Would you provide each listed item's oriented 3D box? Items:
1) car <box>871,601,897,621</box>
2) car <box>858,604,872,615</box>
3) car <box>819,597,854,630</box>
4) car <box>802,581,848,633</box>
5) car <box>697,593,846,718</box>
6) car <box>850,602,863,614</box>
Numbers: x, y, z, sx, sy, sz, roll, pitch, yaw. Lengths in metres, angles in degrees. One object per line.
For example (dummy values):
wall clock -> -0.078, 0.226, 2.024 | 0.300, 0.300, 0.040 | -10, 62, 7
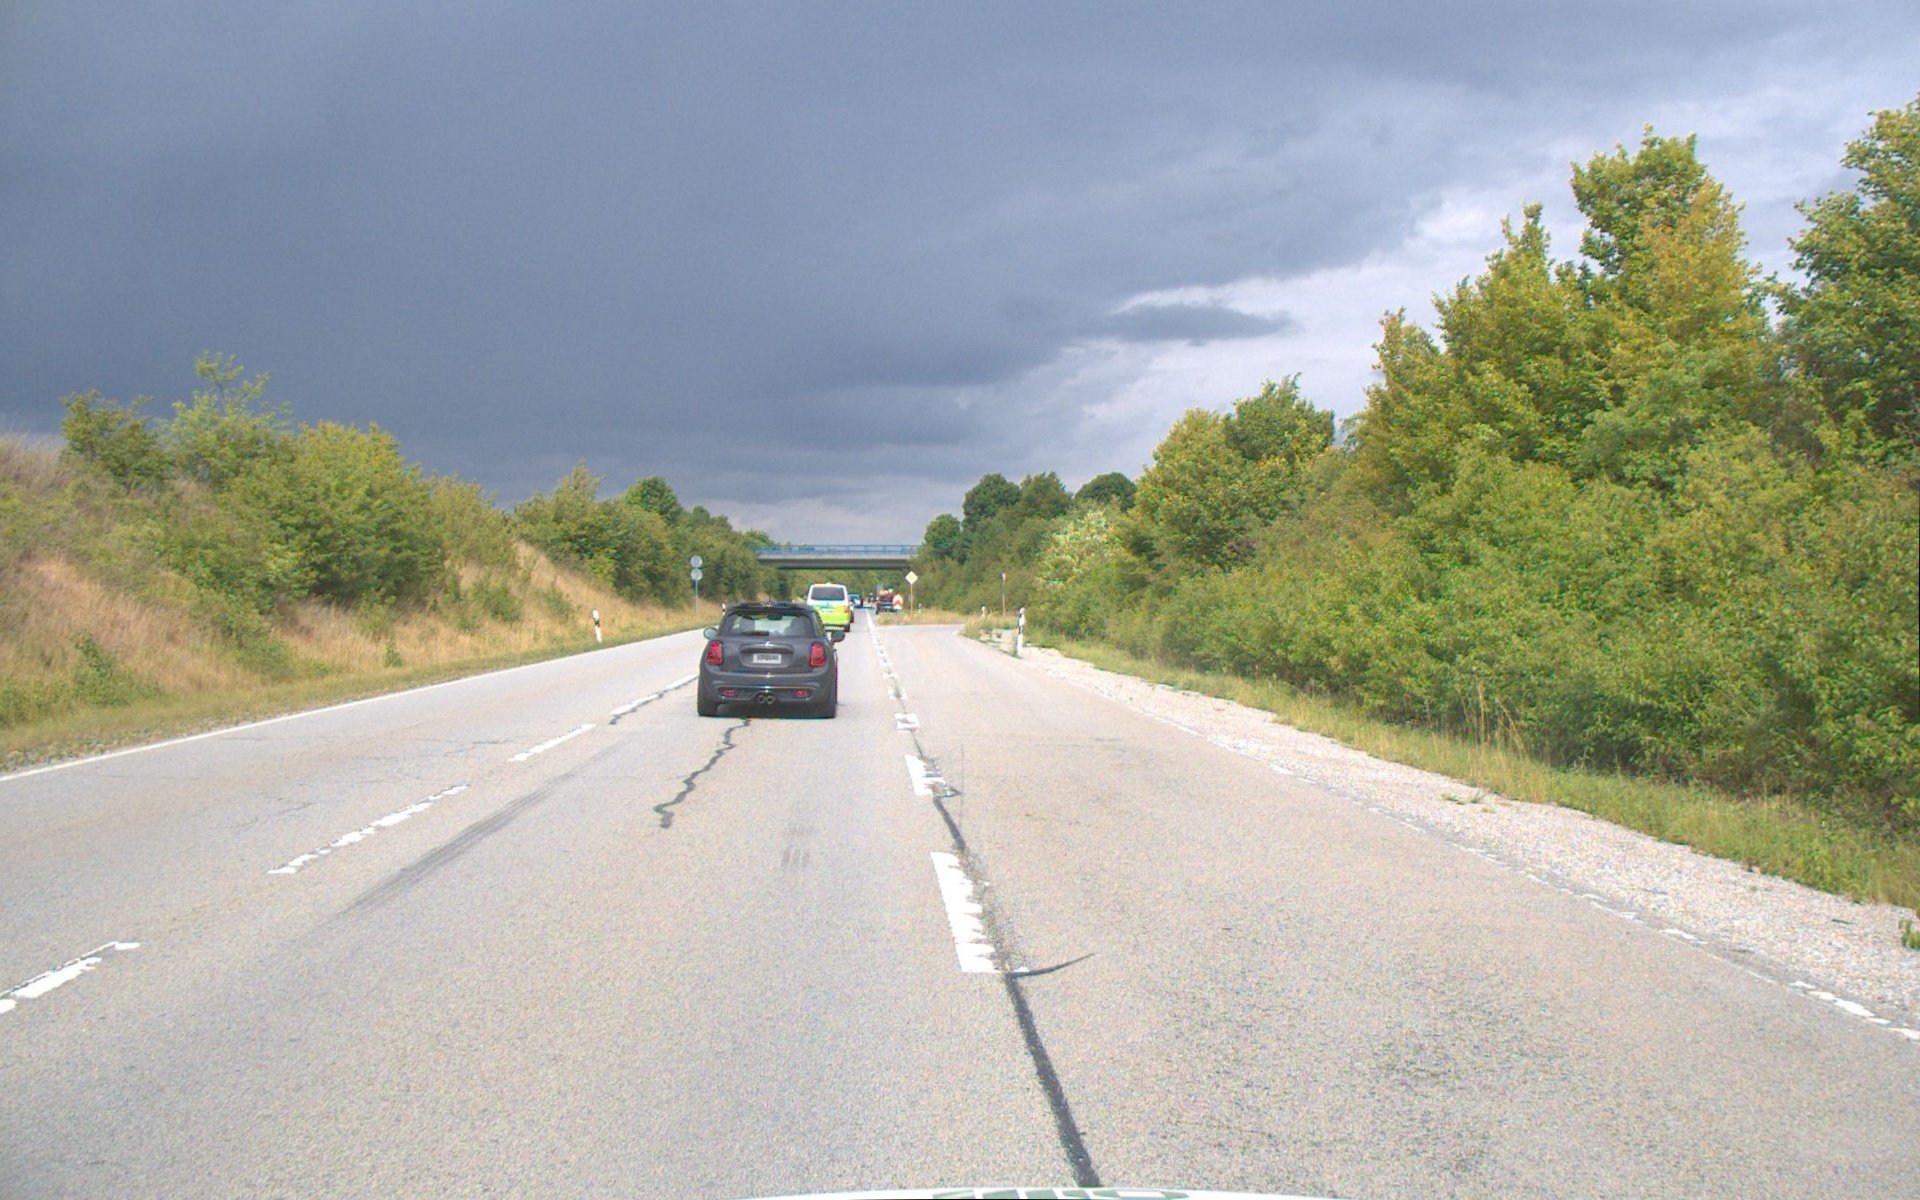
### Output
car -> -6.438, 0.916, 140.498 | 1.955, 1.579, 3.995 | 2, 0, -6
car -> -12.708, 1.326, 222.054 | 1.633, 1.427, 3.999 | 1, 0, -1
car -> -6.980, 0.736, 93.733 | 1.782, 1.780, 3.998 | 1, 0, -2
car -> -5.676, 0.297, 69.773 | 1.783, 2.090, 3.997 | 2, 0, -4
car -> -2.395, 0.663, 21.846 | 1.722, 1.452, 3.997 | 2, 0, -4
car -> -12.557, 0.934, 200.813 | 1.634, 1.427, 3.997 | 1, 0, -3
